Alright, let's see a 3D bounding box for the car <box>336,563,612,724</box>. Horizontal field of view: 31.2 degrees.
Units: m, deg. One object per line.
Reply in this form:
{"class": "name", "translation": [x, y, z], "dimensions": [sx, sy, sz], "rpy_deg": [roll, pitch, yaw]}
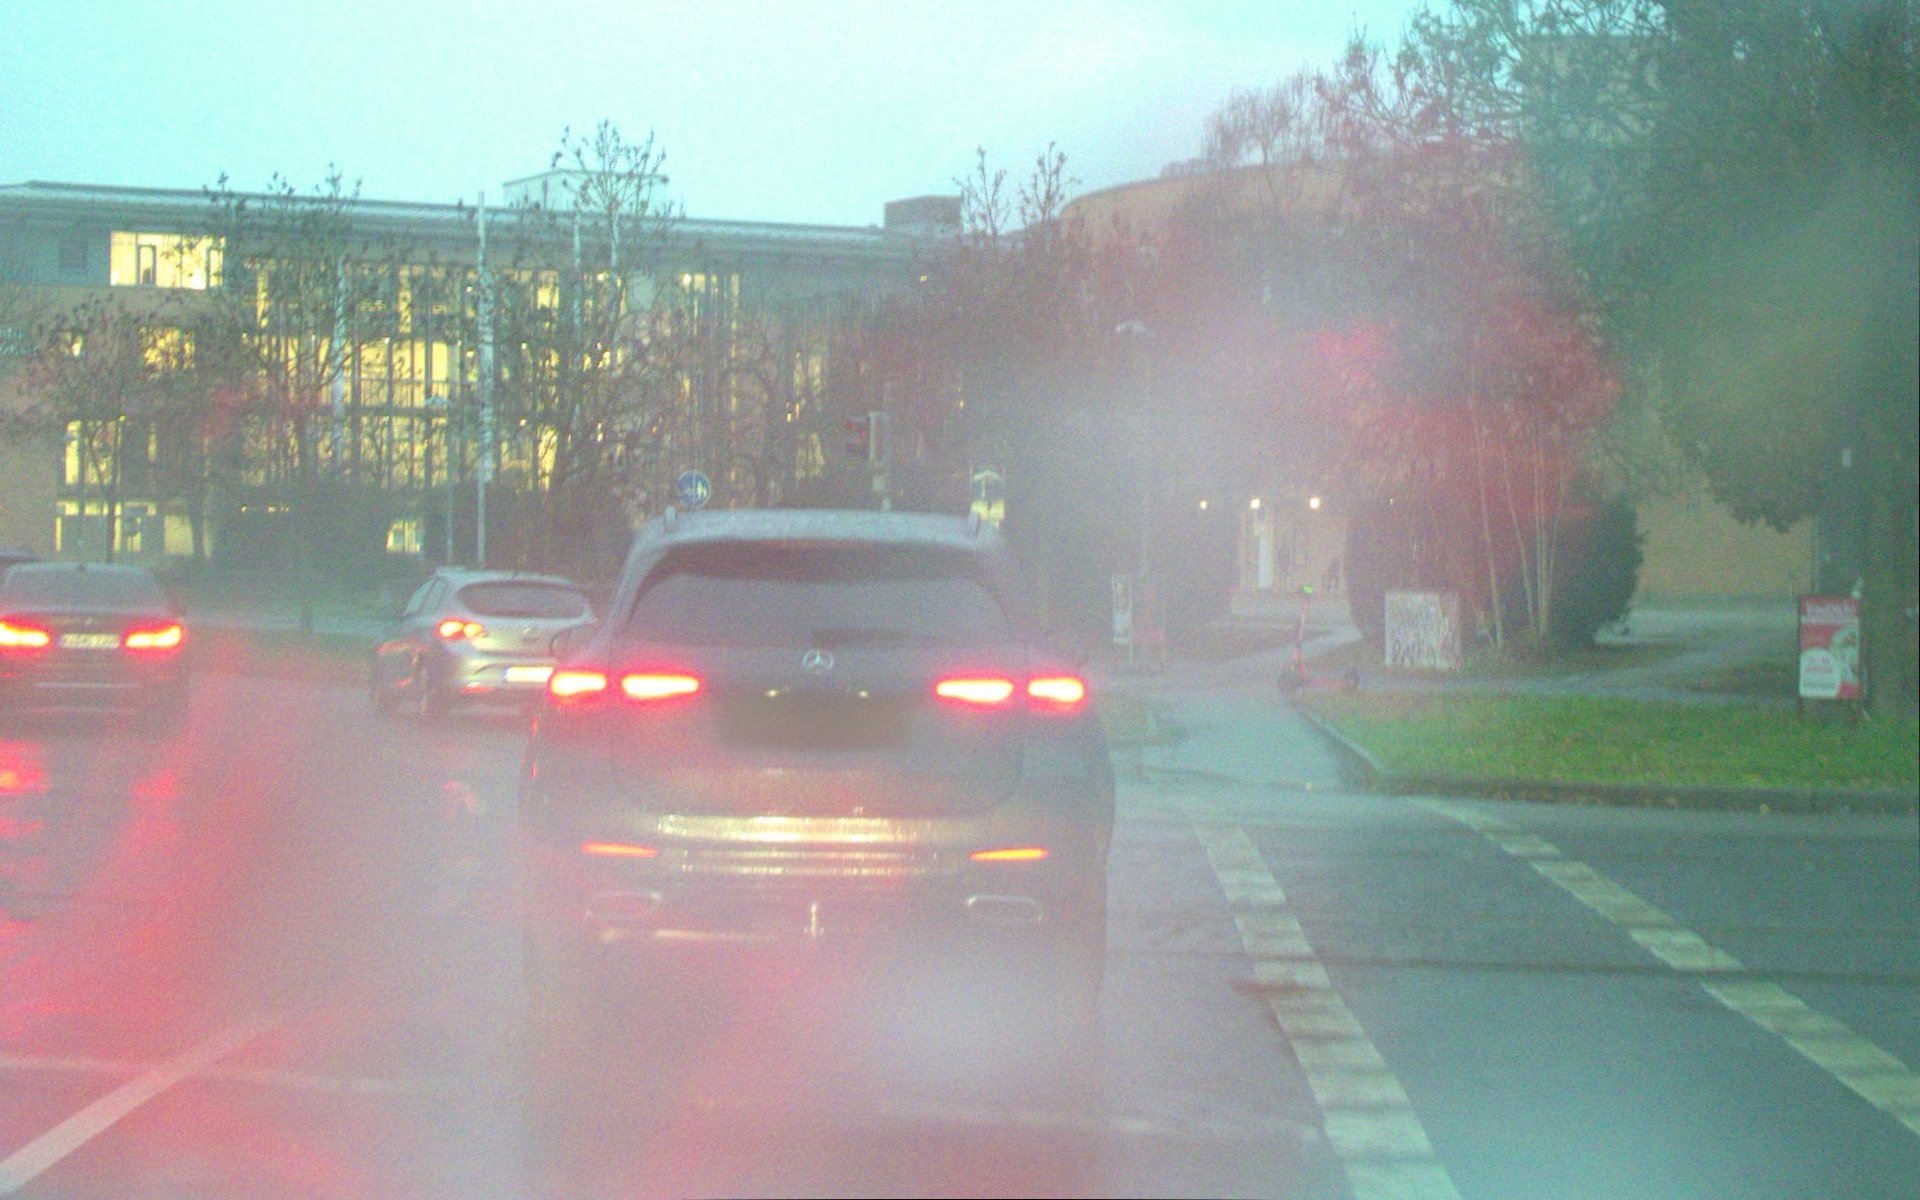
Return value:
{"class": "car", "translation": [-4.808, 0.374, 33.578], "dimensions": [1.993, 1.403, 4.001], "rpy_deg": [-1, 1, -18]}

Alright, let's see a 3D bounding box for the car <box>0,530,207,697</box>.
{"class": "car", "translation": [-7.967, 0.074, 31.294], "dimensions": [1.993, 1.393, 4.001], "rpy_deg": [0, 1, -15]}

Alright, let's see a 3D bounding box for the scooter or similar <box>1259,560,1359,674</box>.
{"class": "scooter or similar", "translation": [3.882, 0.181, 38.247], "dimensions": [1.142, 1.227, 0.487], "rpy_deg": [-1, 2, -45]}

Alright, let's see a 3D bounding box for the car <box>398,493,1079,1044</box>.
{"class": "car", "translation": [-0.696, 0.443, 12.078], "dimensions": [1.990, 1.610, 4.001], "rpy_deg": [0, 1, -1]}

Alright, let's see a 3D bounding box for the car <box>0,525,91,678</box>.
{"class": "car", "translation": [-12.052, -0.021, 41.662], "dimensions": [1.993, 1.759, 4.001], "rpy_deg": [-1, 2, -29]}
